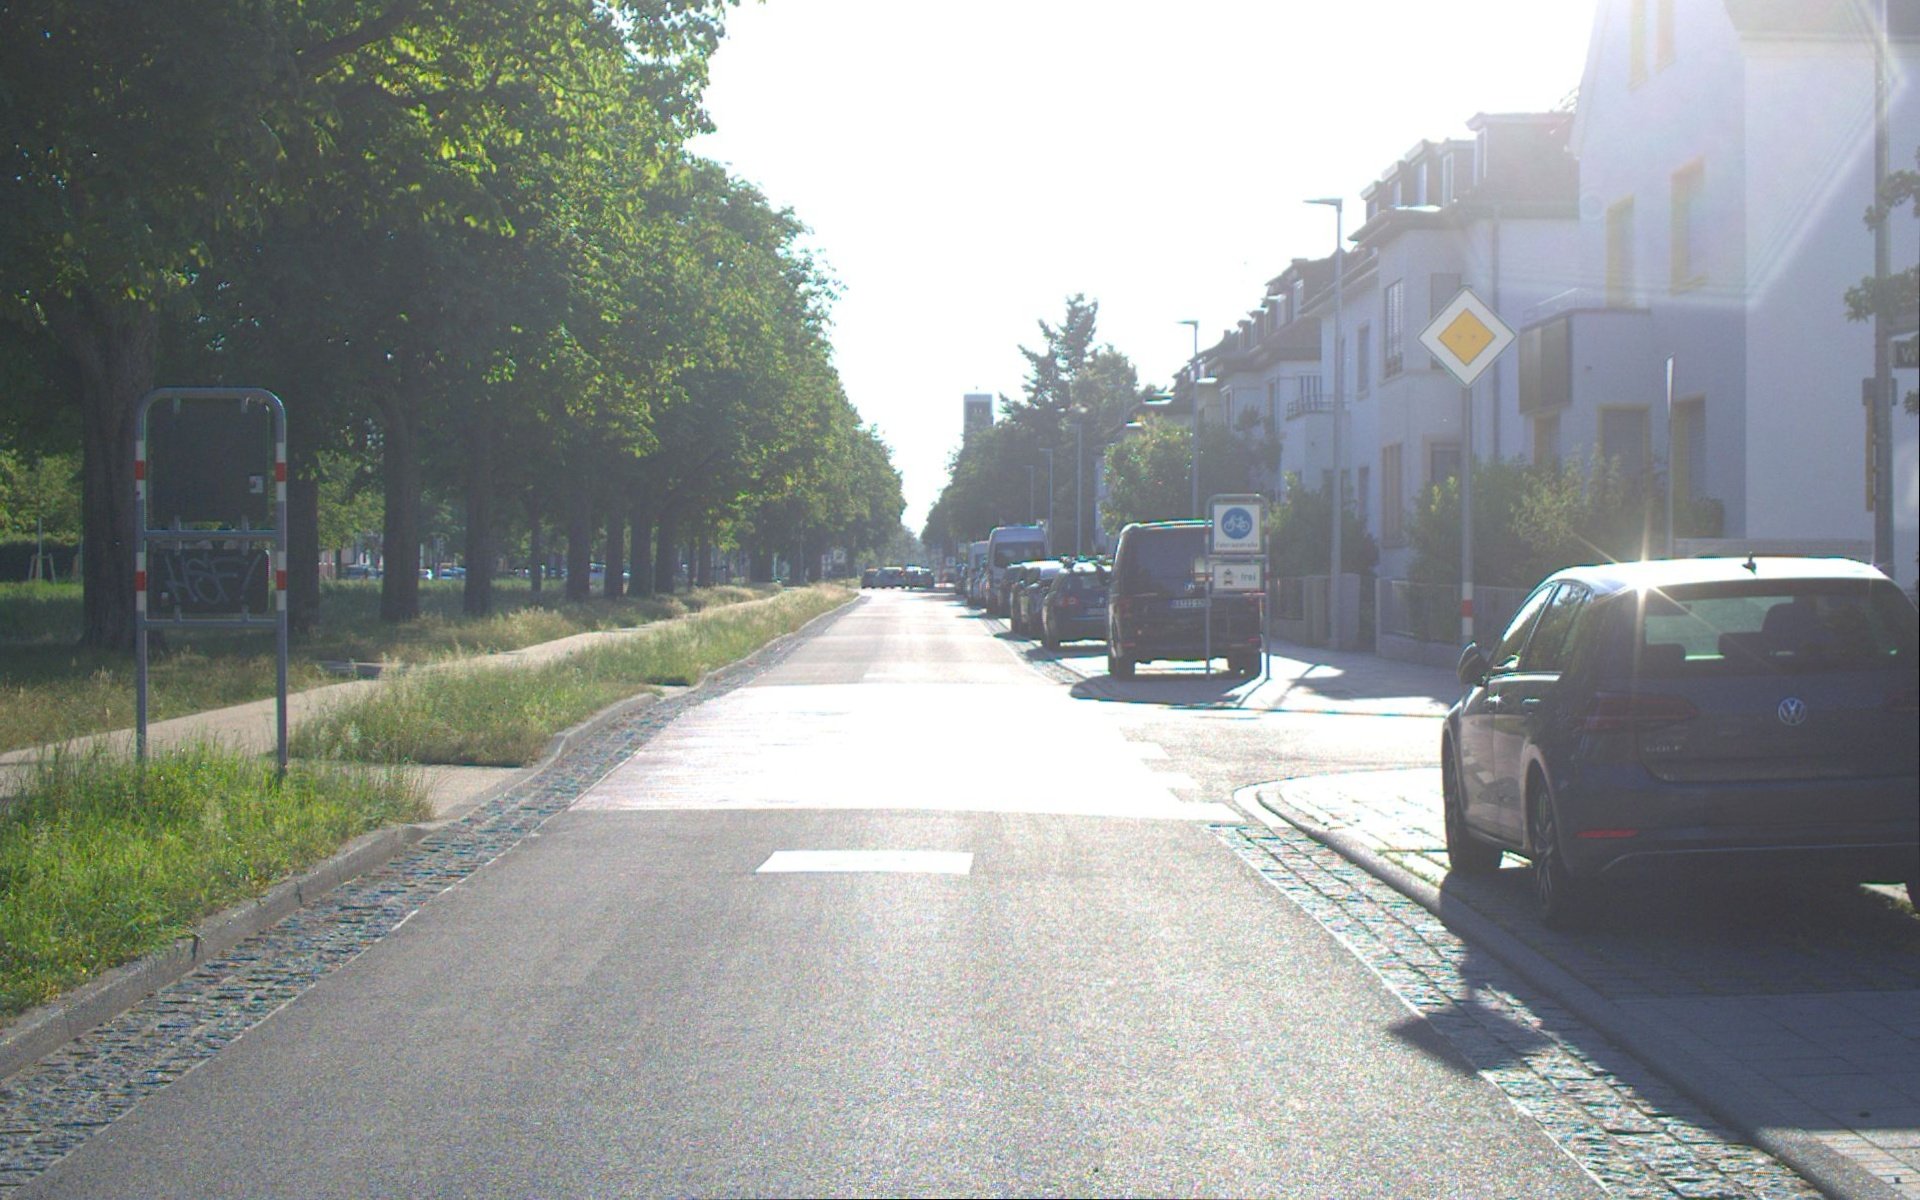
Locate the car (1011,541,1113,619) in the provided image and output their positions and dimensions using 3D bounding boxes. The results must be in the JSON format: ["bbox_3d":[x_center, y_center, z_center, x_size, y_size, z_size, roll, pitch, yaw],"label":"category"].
[{"bbox_3d":[2.132,-0.401,73.010,1.717,1.568,4.211,-1,0,-4],"label":"car"}]

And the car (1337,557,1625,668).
[{"bbox_3d":[8.231,0.193,54.570,4.216,1.720,1.853,0,0,-4],"label":"car"}]

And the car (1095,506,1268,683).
[{"bbox_3d":[2.819,-0.084,44.689,1.906,2.124,4.814,-1,0,0],"label":"car"}]

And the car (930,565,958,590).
[{"bbox_3d":[-1.040,-1.470,224.370,1.650,1.525,3.851,3,0,1],"label":"car"}]

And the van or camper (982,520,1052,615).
[{"bbox_3d":[1.739,-0.973,106.304,1.943,2.768,5.939,2,-1,0],"label":"van or camper"}]

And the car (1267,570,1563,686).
[{"bbox_3d":[6.962,0.428,52.895,4.216,1.720,1.853,0,0,-4],"label":"car"}]

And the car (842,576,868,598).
[{"bbox_3d":[-7.654,-0.943,250.765,1.650,1.525,3.851,4,0,1],"label":"car"}]

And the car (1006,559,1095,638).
[{"bbox_3d":[2.047,-0.058,78.880,1.832,1.679,4.415,2,1,-1],"label":"car"}]

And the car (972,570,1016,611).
[{"bbox_3d":[1.287,-0.356,130.481,1.650,1.525,3.851,0,0,1],"label":"car"}]

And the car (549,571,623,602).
[{"bbox_3d":[-22.768,-0.832,209.294,4.345,1.758,2.000,2,0,-9],"label":"car"}]

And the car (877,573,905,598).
[{"bbox_3d":[-4.706,-0.992,235.149,1.863,1.591,3.870,2,0,-1],"label":"car"}]

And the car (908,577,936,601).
[{"bbox_3d":[-2.698,-0.763,242.720,1.863,1.591,3.894,1,1,-1],"label":"car"}]

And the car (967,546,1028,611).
[{"bbox_3d":[1.458,-0.847,136.773,2.126,2.524,5.189,0,0,-3],"label":"car"}]

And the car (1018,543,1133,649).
[{"bbox_3d":[2.021,-0.086,61.368,1.794,1.765,4.473,-1,0,-1],"label":"car"}]

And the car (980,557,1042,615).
[{"bbox_3d":[1.473,-0.409,100.021,1.663,1.587,4.086,2,0,0],"label":"car"}]

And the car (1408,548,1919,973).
[{"bbox_3d":[3.100,0.564,14.751,1.794,1.477,4.124,-2,1,0],"label":"car"}]
